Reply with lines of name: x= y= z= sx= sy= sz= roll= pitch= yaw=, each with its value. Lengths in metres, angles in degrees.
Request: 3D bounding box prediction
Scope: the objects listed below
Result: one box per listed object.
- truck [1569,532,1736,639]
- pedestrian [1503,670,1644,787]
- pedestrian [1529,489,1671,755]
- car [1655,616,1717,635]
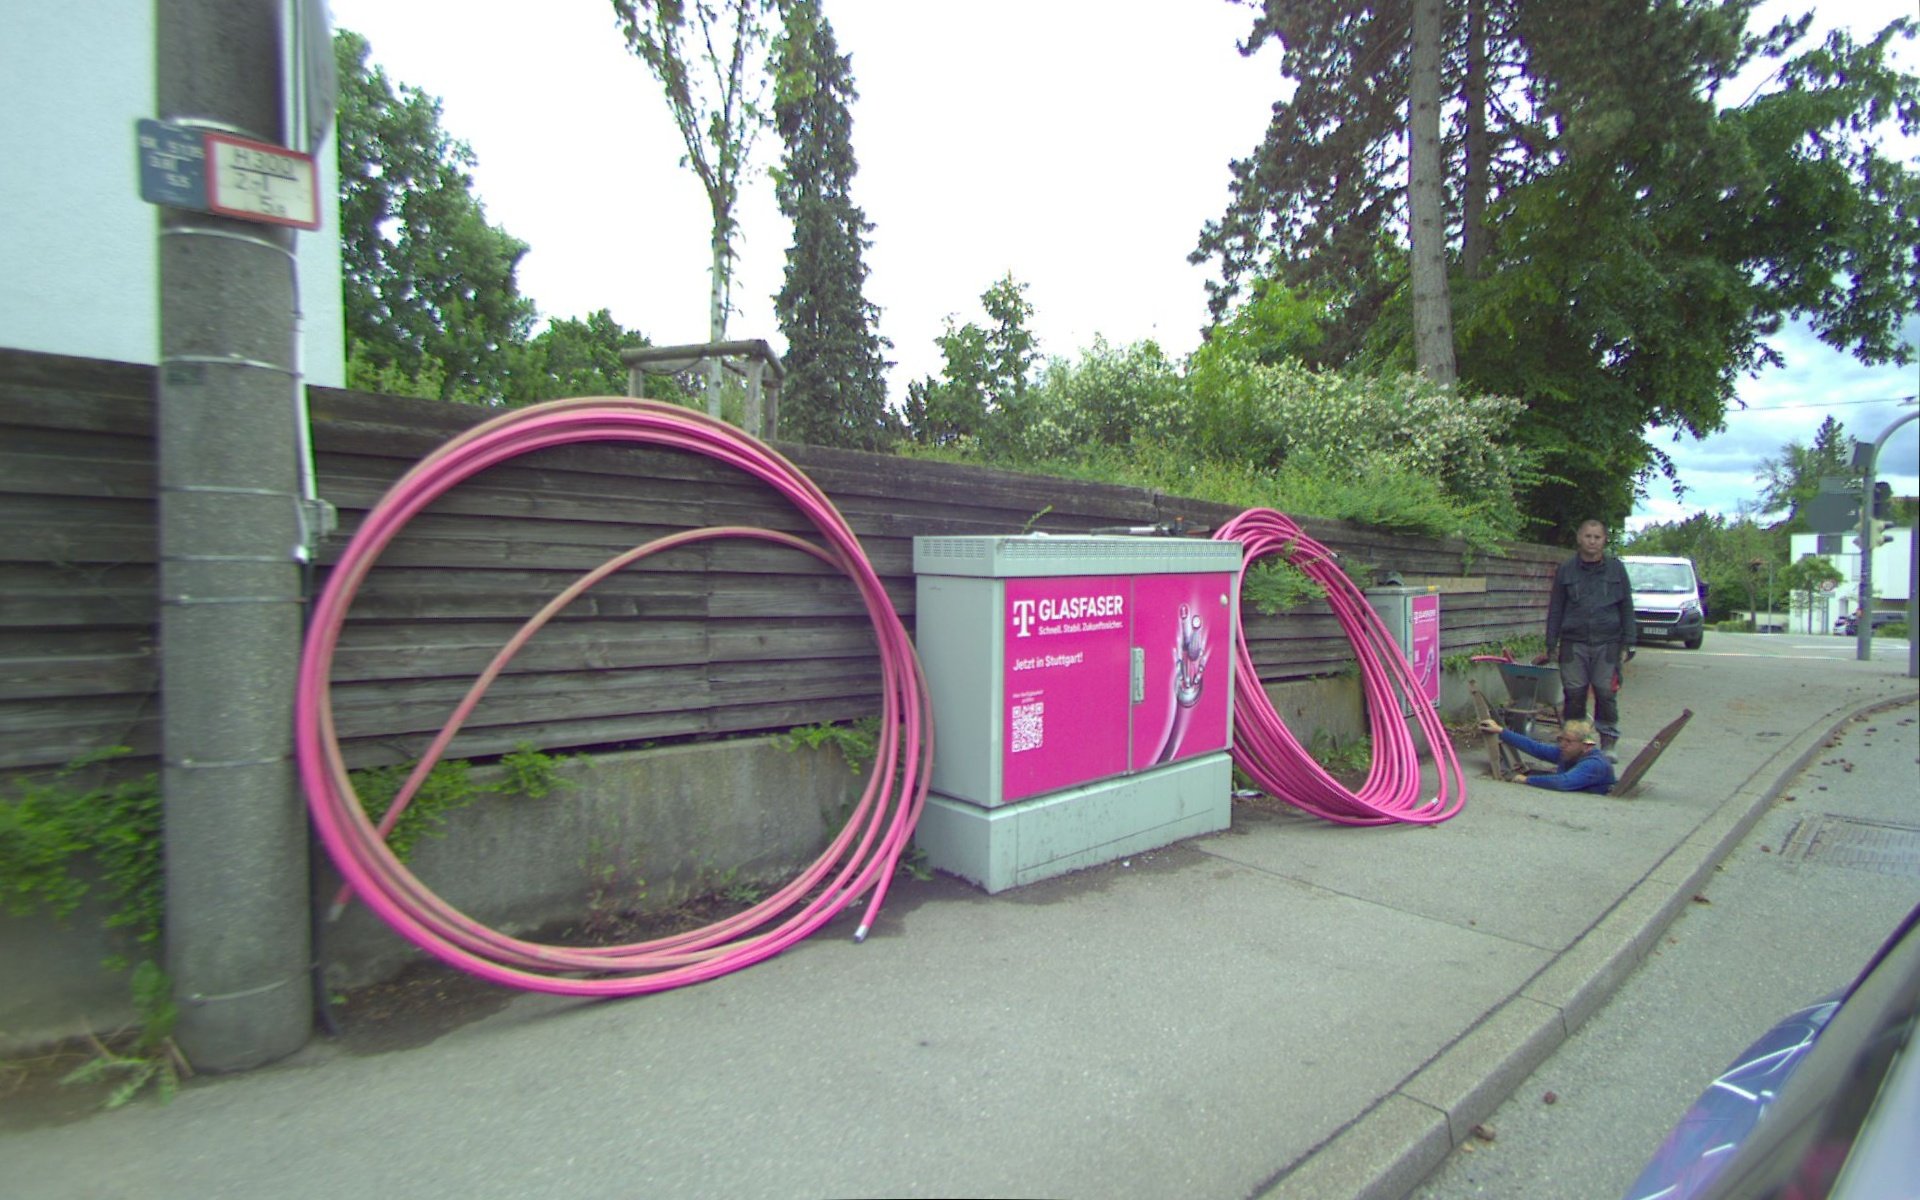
truck: x=17.529 y=-0.422 z=26.014 sx=2.378 sy=2.380 sz=6.140 roll=2 pitch=2 yaw=24
pedestrian: x=4.235 y=0.872 z=7.025 sx=0.636 sy=0.705 sz=0.584 roll=1 pitch=1 yaw=7
pedestrian: x=5.003 y=0.149 z=7.969 sx=0.840 sy=1.948 sz=0.793 roll=1 pitch=1 yaw=28
car: x=68.822 y=2.364 z=95.959 sx=4.388 sy=1.577 sz=1.984 roll=2 pitch=1 yaw=24
